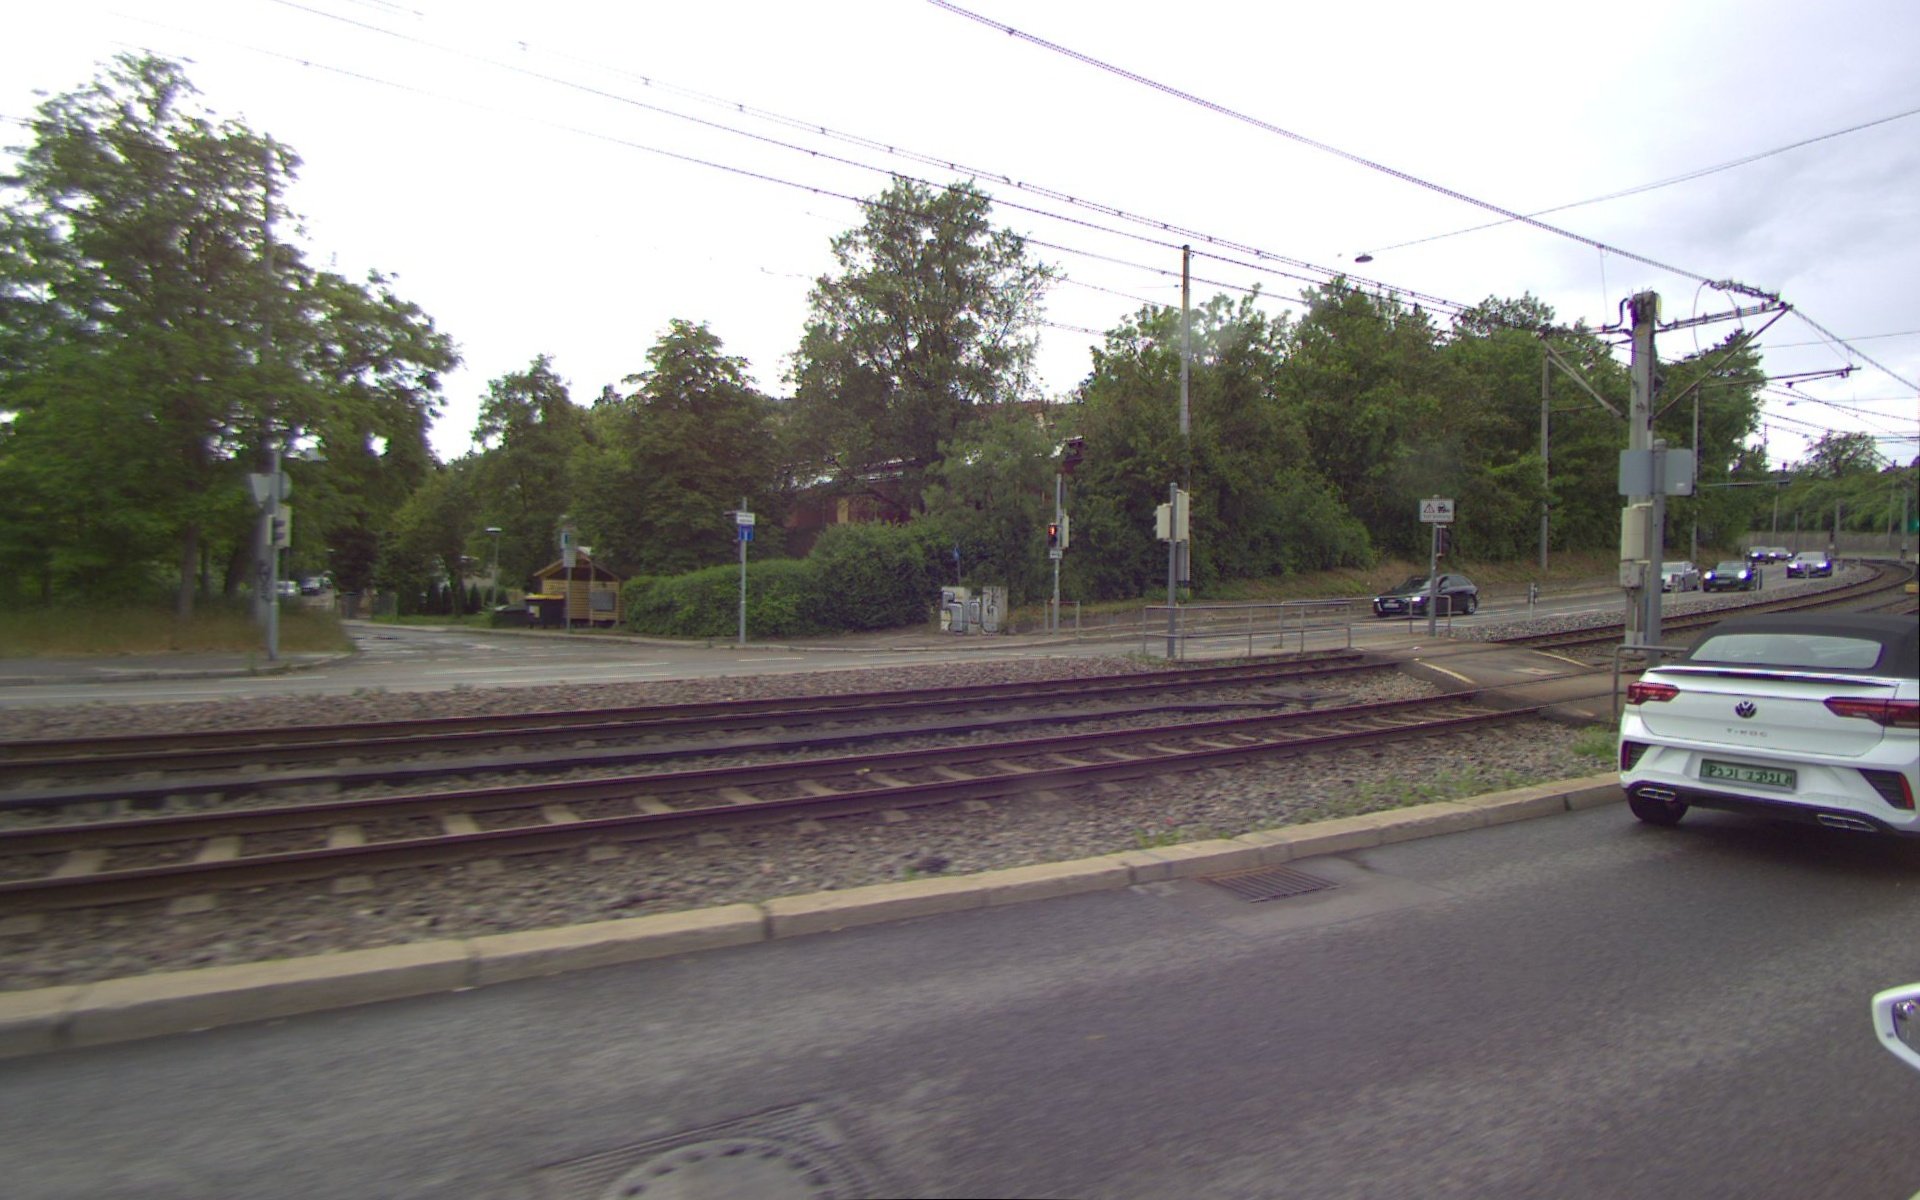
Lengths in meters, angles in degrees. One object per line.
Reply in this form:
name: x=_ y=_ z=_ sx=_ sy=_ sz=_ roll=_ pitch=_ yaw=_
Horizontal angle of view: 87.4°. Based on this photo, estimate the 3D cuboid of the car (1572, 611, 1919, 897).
car: x=6.633 y=0.855 z=7.417 sx=4.490 sy=1.544 sz=1.861 roll=0 pitch=0 yaw=-33

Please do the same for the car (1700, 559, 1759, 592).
car: x=35.837 y=-1.150 z=46.761 sx=3.867 sy=1.403 sz=1.617 roll=-2 pitch=0 yaw=-44

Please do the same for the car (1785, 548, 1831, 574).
car: x=52.113 y=-2.415 z=61.700 sx=1.842 sy=1.458 sz=4.825 roll=-2 pitch=2 yaw=44

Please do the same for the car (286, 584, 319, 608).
car: x=-55.135 y=-0.333 z=84.316 sx=1.856 sy=1.840 sz=3.974 roll=-1 pitch=-1 yaw=-26

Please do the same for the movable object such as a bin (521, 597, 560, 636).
movable object such as a bin: x=-16.693 y=0.670 z=39.946 sx=1.263 sy=1.445 sz=0.676 roll=4 pitch=1 yaw=23

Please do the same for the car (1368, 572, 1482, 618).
car: x=15.837 y=-0.204 z=34.133 sx=4.234 sy=1.478 sz=1.704 roll=-1 pitch=1 yaw=-37

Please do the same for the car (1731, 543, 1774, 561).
car: x=77.516 y=-4.664 z=98.320 sx=1.754 sy=1.692 sz=4.739 roll=-1 pitch=2 yaw=18

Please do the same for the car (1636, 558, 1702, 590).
car: x=34.658 y=-1.275 z=49.031 sx=4.672 sy=1.398 sz=1.801 roll=-3 pitch=2 yaw=-44

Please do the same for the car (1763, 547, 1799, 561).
car: x=86.240 y=-4.797 z=105.511 sx=1.678 sy=1.434 sz=4.030 roll=0 pitch=2 yaw=21

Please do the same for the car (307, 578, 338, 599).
car: x=-58.569 y=-1.048 z=92.329 sx=1.974 sy=1.884 sz=3.973 roll=0 pitch=0 yaw=-26
